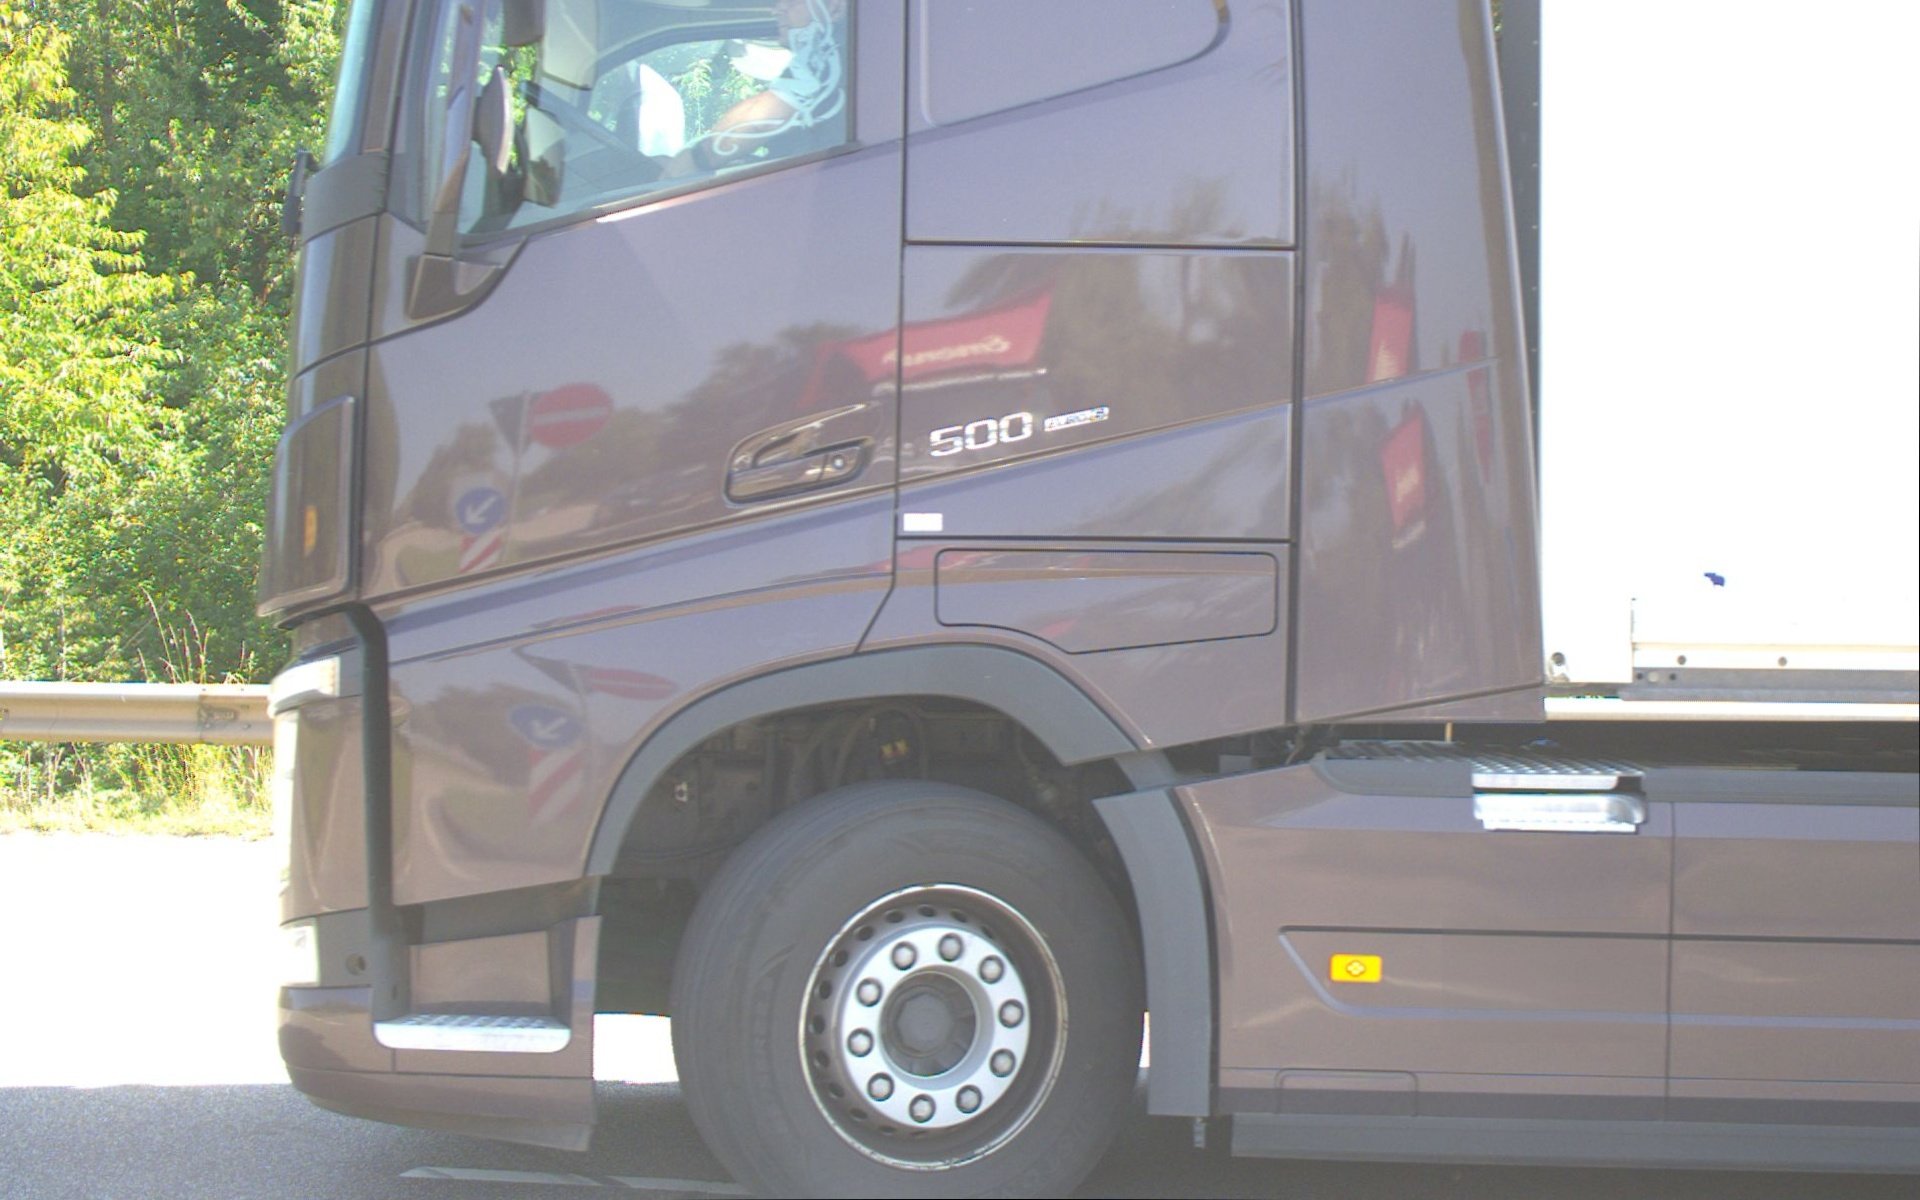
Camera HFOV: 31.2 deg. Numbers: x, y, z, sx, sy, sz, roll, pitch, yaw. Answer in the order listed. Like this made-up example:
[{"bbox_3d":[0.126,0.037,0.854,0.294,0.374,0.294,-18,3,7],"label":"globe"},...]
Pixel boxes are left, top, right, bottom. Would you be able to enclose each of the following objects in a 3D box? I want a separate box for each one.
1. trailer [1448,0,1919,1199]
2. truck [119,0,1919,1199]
[{"bbox_3d":[8.161,-0.703,7.051,13.943,4.151,2.895,1,1,14],"label":"trailer"},{"bbox_3d":[1.328,-0.784,8.297,5.951,4.159,2.880,1,1,2],"label":"truck"}]
